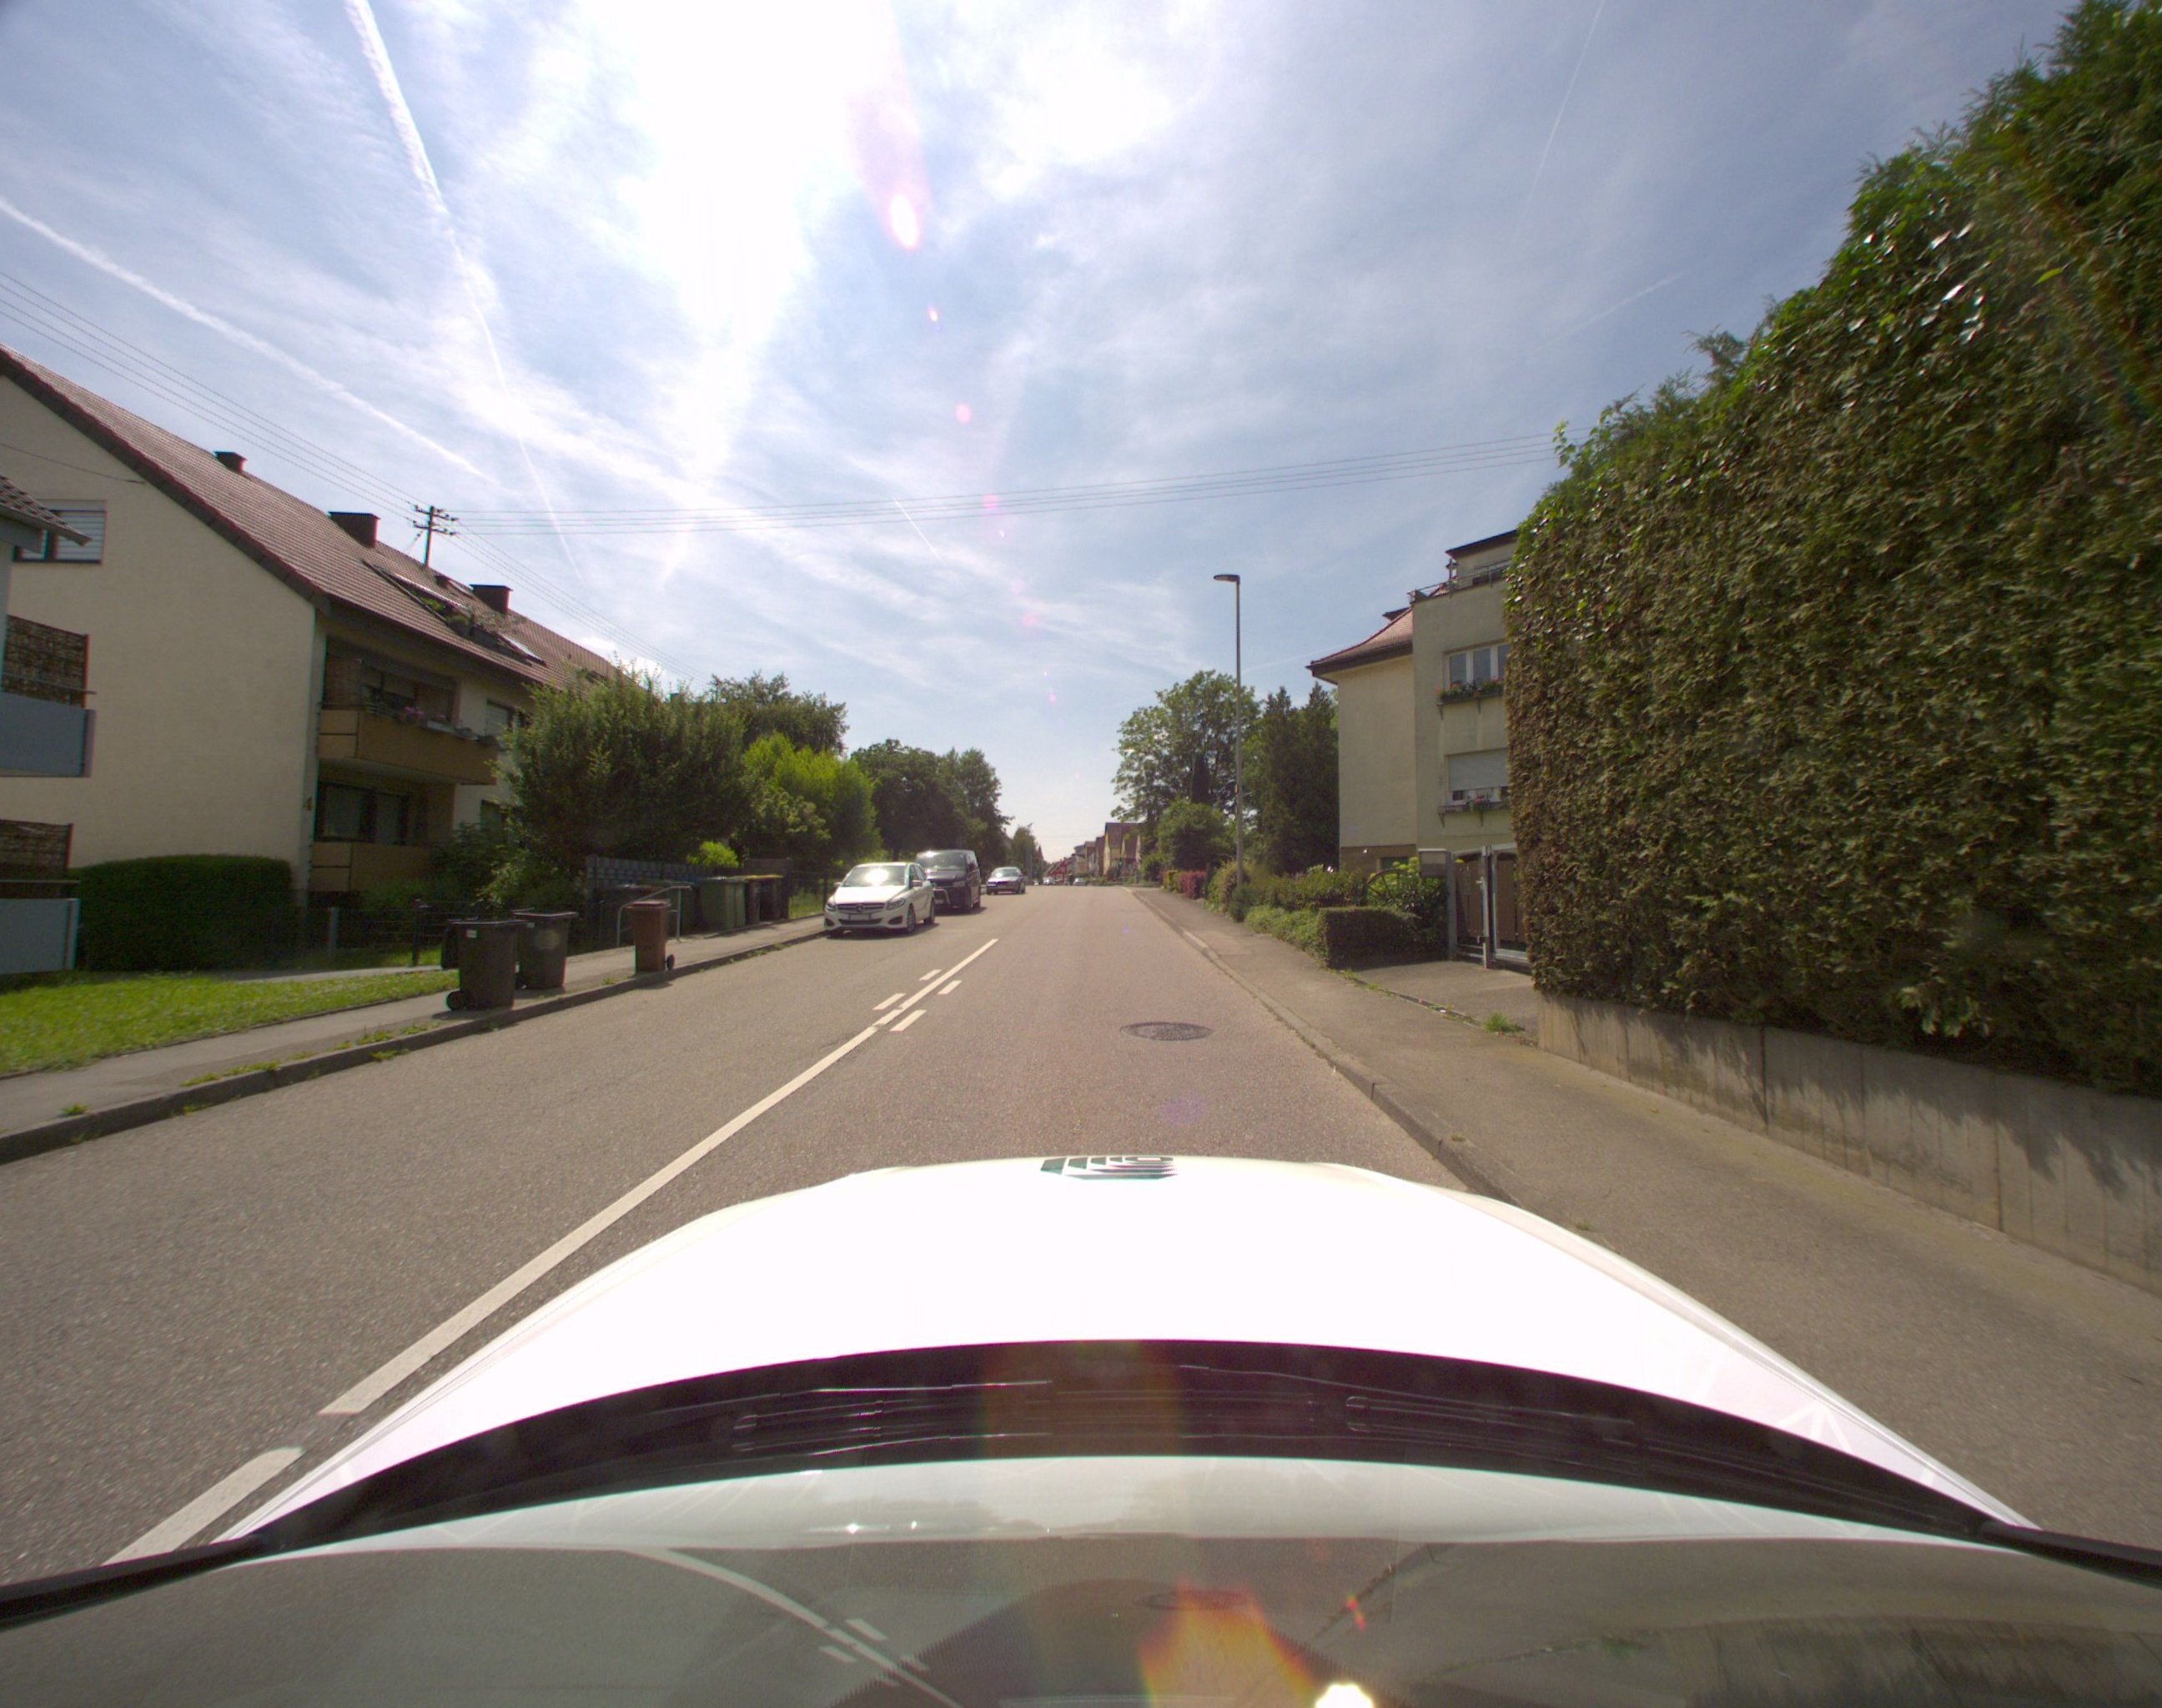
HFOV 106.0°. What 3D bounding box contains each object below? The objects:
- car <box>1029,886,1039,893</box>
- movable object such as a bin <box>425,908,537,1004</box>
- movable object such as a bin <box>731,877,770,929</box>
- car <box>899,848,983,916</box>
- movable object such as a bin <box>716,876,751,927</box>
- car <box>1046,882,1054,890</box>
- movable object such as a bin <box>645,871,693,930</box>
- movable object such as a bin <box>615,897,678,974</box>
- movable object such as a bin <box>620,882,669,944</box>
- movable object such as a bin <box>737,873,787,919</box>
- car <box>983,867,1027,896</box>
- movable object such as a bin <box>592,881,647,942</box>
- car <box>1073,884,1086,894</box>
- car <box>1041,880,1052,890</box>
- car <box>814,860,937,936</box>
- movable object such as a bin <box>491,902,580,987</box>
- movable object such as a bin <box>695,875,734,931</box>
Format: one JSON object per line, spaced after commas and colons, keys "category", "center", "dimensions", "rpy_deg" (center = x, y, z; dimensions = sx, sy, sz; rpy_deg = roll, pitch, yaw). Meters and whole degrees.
{"category": "car", "center": [-10.931, 8.268, 190.740], "dimensions": [2.104, 1.561, 4.311], "rpy_deg": [0, -3, -1]}
{"category": "movable object such as a bin", "center": [-6.167, 1.031, 8.400], "dimensions": [0.616, 0.918, 0.687], "rpy_deg": [-1, -2, 7]}
{"category": "movable object such as a bin", "center": [-7.242, 1.064, 17.879], "dimensions": [0.494, 1.105, 0.711], "rpy_deg": [-2, -3, 8]}
{"category": "car", "center": [-4.329, 0.844, 25.905], "dimensions": [1.891, 1.920, 4.867], "rpy_deg": [-1, -1, -1]}
{"category": "movable object such as a bin", "center": [-7.294, 0.992, 17.108], "dimensions": [0.453, 1.044, 0.561], "rpy_deg": [-2, -3, 7]}
{"category": "car", "center": [-5.854, 6.064, 153.611], "dimensions": [1.531, 1.542, 4.298], "rpy_deg": [0, -2, -4]}
{"category": "movable object such as a bin", "center": [-8.452, 0.942, 16.727], "dimensions": [0.474, 1.178, 0.841], "rpy_deg": [-1, -2, 6]}
{"category": "movable object such as a bin", "center": [-5.826, 1.078, 10.946], "dimensions": [0.503, 0.988, 0.564], "rpy_deg": [-1, -2, 7]}
{"category": "movable object such as a bin", "center": [-8.522, 1.143, 15.934], "dimensions": [0.544, 1.178, 0.675], "rpy_deg": [-1, -2, 6]}
{"category": "movable object such as a bin", "center": [-7.538, 0.990, 19.284], "dimensions": [0.896, 1.070, 0.695], "rpy_deg": [0, -1, 1]}
{"category": "car", "center": [-3.956, 1.460, 43.006], "dimensions": [1.774, 1.394, 4.409], "rpy_deg": [-1, -2, 1]}
{"category": "movable object such as a bin", "center": [-8.609, 1.059, 15.213], "dimensions": [0.599, 1.096, 0.651], "rpy_deg": [-1, -2, 7]}
{"category": "car", "center": [-0.243, 5.725, 133.696], "dimensions": [1.987, 1.604, 3.999], "rpy_deg": [0, -1, 0]}
{"category": "car", "center": [-6.946, 6.221, 164.436], "dimensions": [1.877, 1.965, 4.892], "rpy_deg": [1, -1, -6]}
{"category": "car", "center": [-4.571, 0.946, 18.772], "dimensions": [1.806, 1.550, 4.241], "rpy_deg": [0, -1, -1]}
{"category": "movable object such as a bin", "center": [-6.309, 1.033, 9.449], "dimensions": [0.560, 0.918, 0.644], "rpy_deg": [-1, -2, 7]}
{"category": "movable object such as a bin", "center": [-7.408, 0.984, 16.475], "dimensions": [0.515, 1.104, 0.529], "rpy_deg": [-2, -3, 0]}
